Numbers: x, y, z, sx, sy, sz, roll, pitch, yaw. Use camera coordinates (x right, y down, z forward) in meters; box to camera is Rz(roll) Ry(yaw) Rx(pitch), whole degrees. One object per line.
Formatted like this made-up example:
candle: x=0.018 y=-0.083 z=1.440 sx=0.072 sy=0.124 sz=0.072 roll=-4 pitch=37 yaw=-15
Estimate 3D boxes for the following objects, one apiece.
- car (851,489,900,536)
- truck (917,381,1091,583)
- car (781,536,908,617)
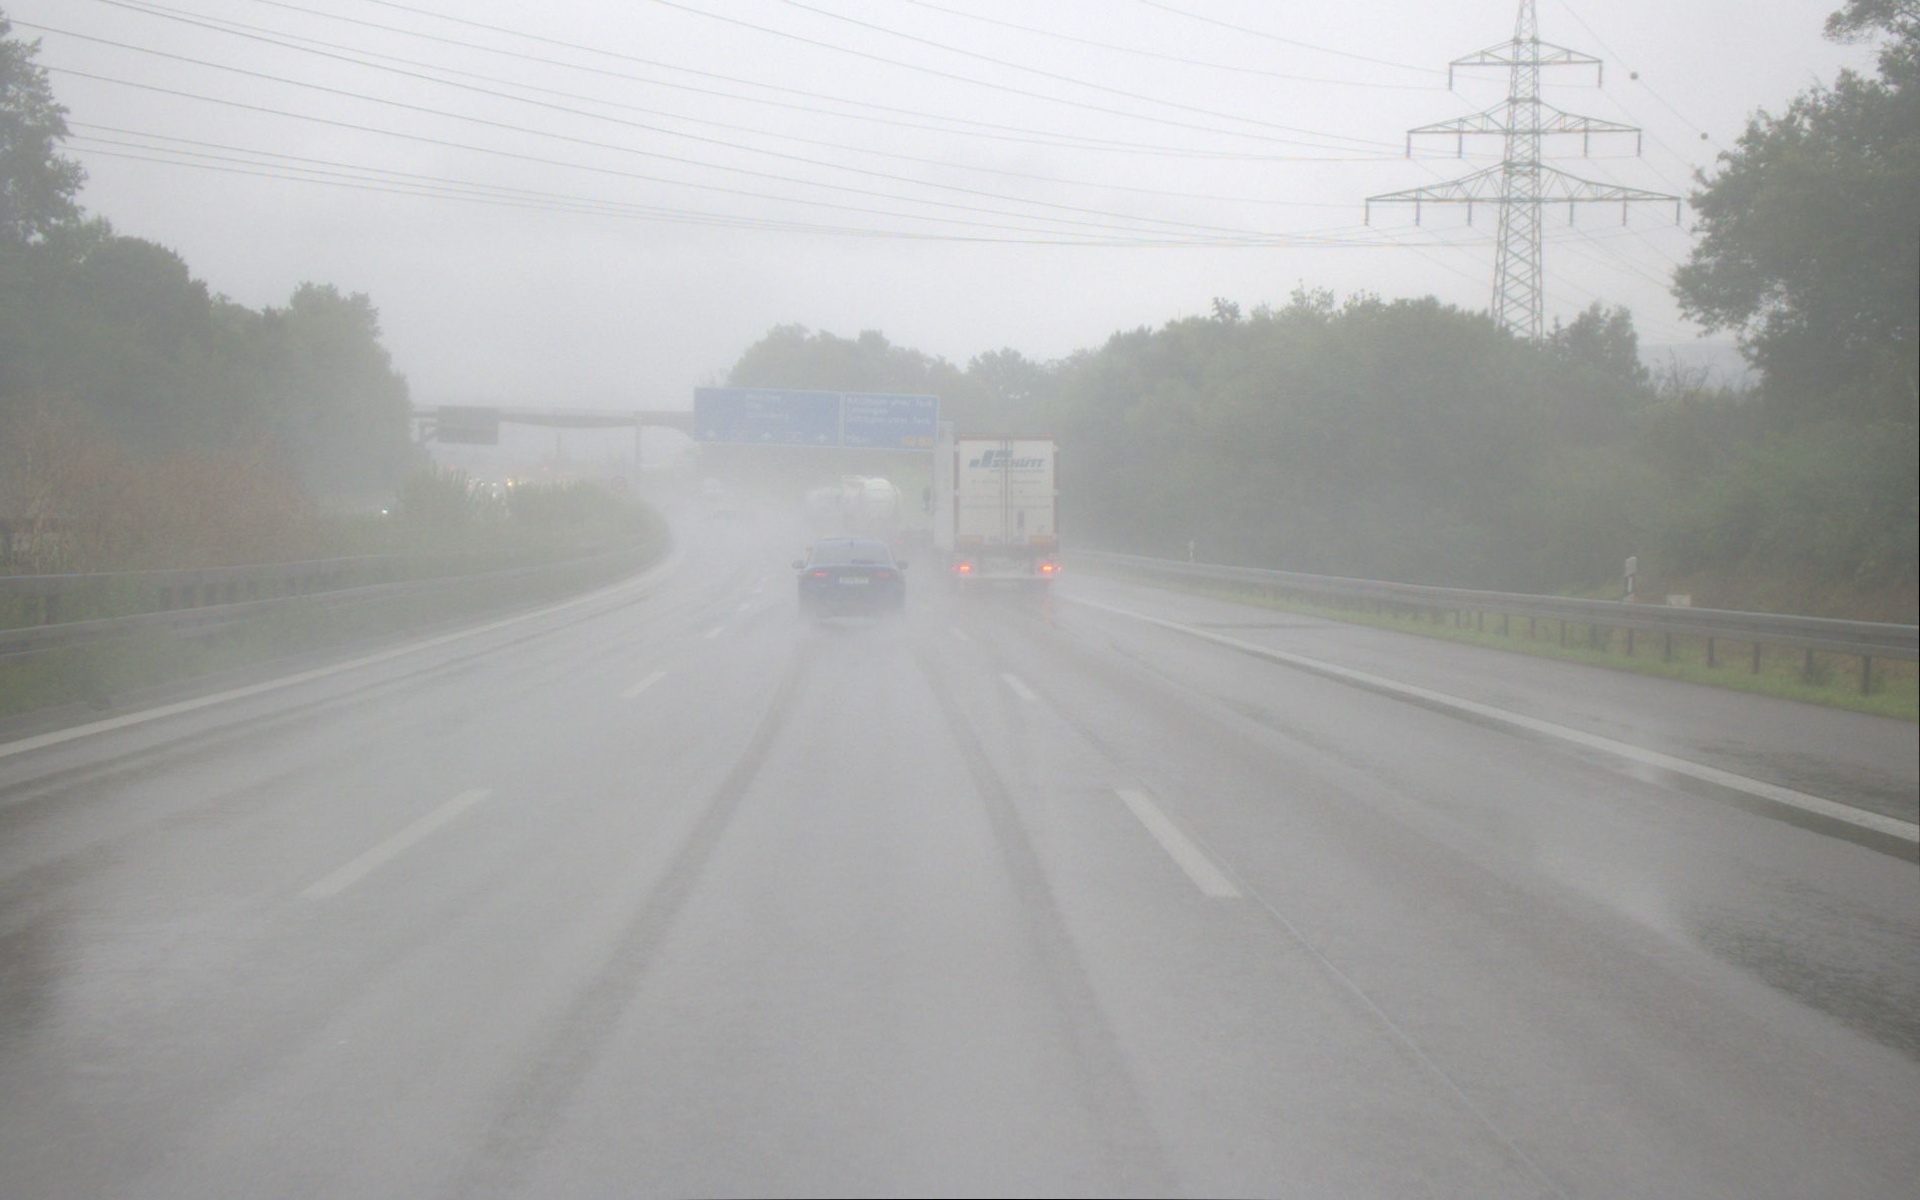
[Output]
car: x=-4.302 y=-4.475 z=176.072 sx=2.393 sy=2.264 sz=5.003 roll=2 pitch=2 yaw=-1
truck: x=1.254 y=-3.087 z=93.105 sx=4.257 sy=4.955 sz=17.341 roll=0 pitch=1 yaw=1
car: x=-1.894 y=-0.409 z=57.618 sx=1.749 sy=1.208 sz=4.000 roll=3 pitch=1 yaw=3
